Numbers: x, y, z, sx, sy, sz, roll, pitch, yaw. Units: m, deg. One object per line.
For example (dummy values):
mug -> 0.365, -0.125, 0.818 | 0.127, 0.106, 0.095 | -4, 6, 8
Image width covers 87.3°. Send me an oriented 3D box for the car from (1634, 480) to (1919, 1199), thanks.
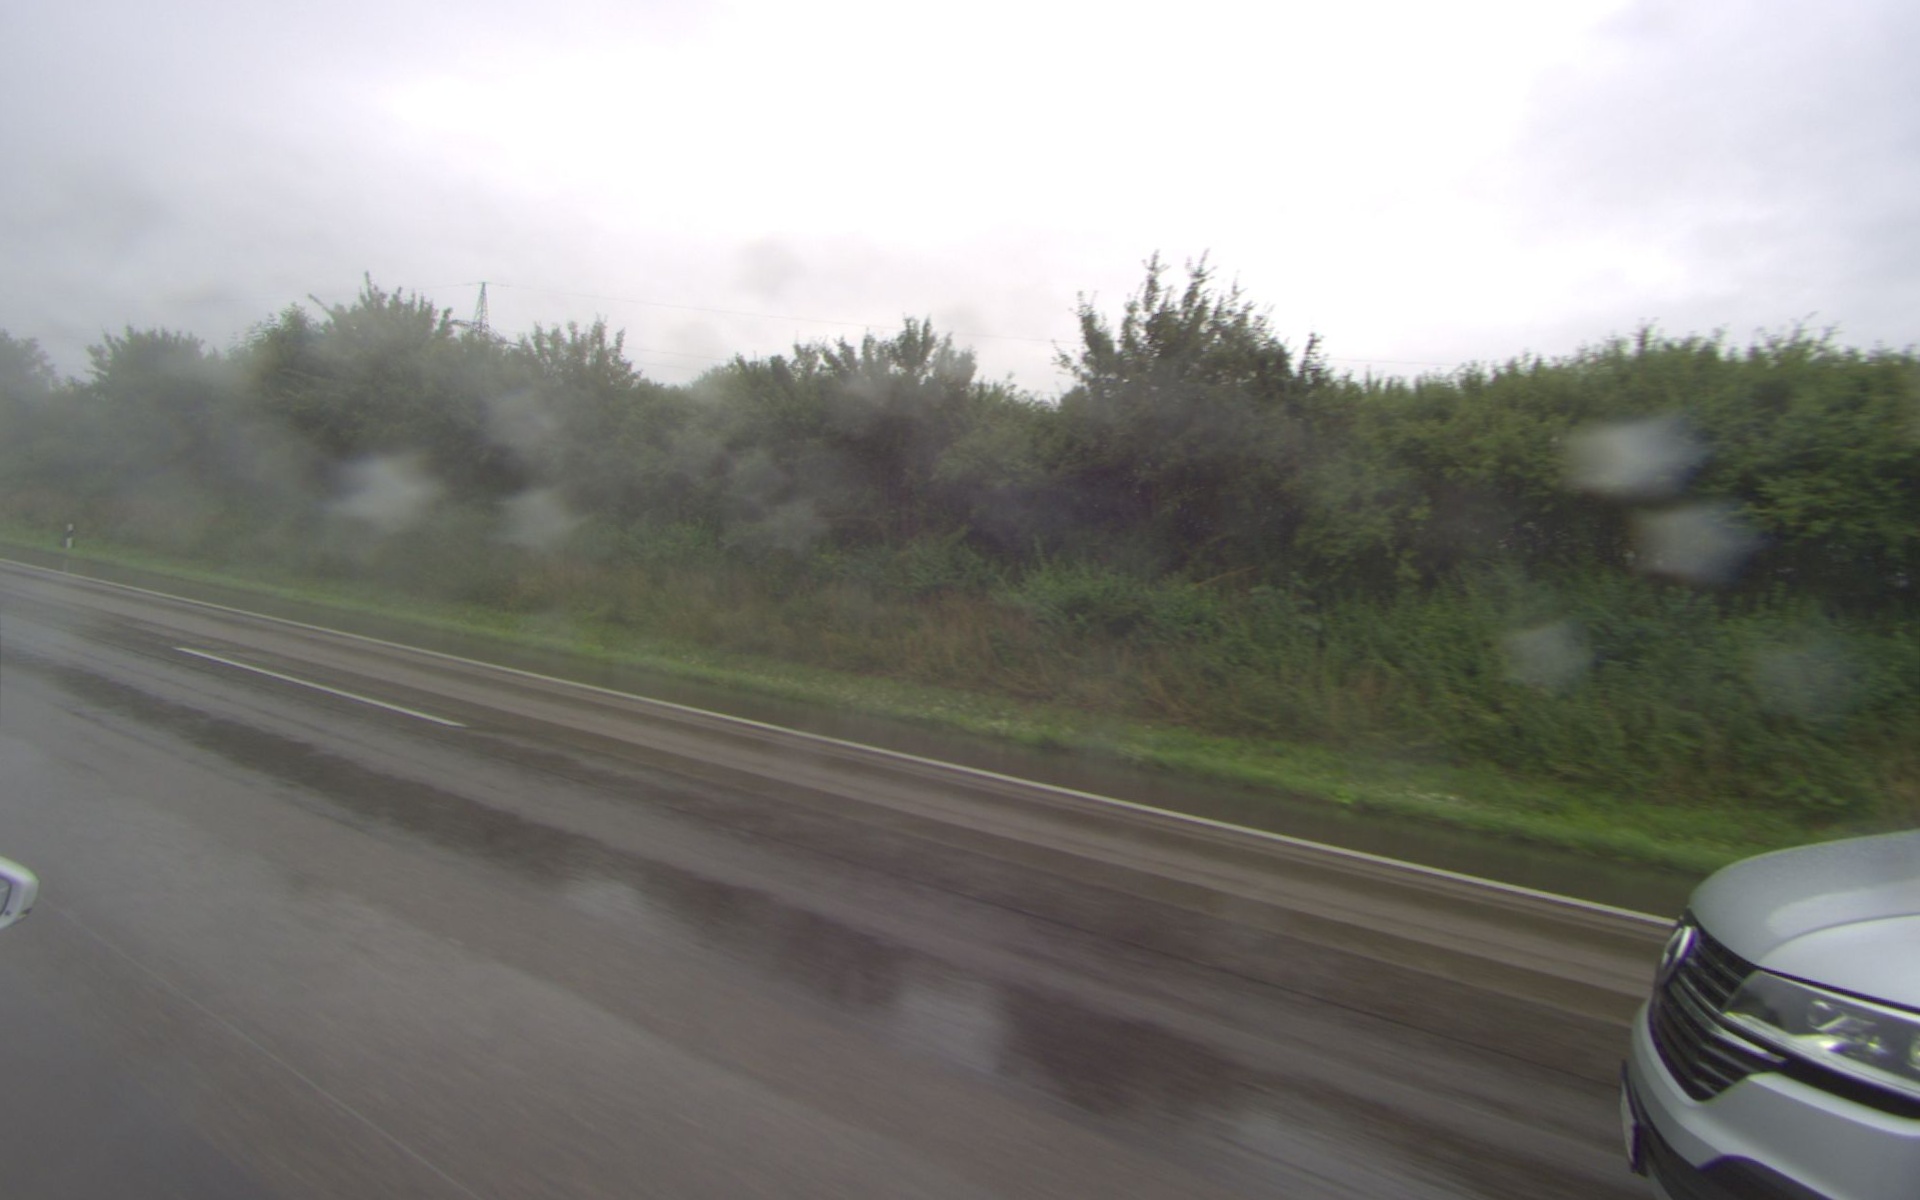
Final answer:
car -> 4.028, 1.042, 1.345 | 4.926, 1.907, 1.890 | 6, -1, 32
